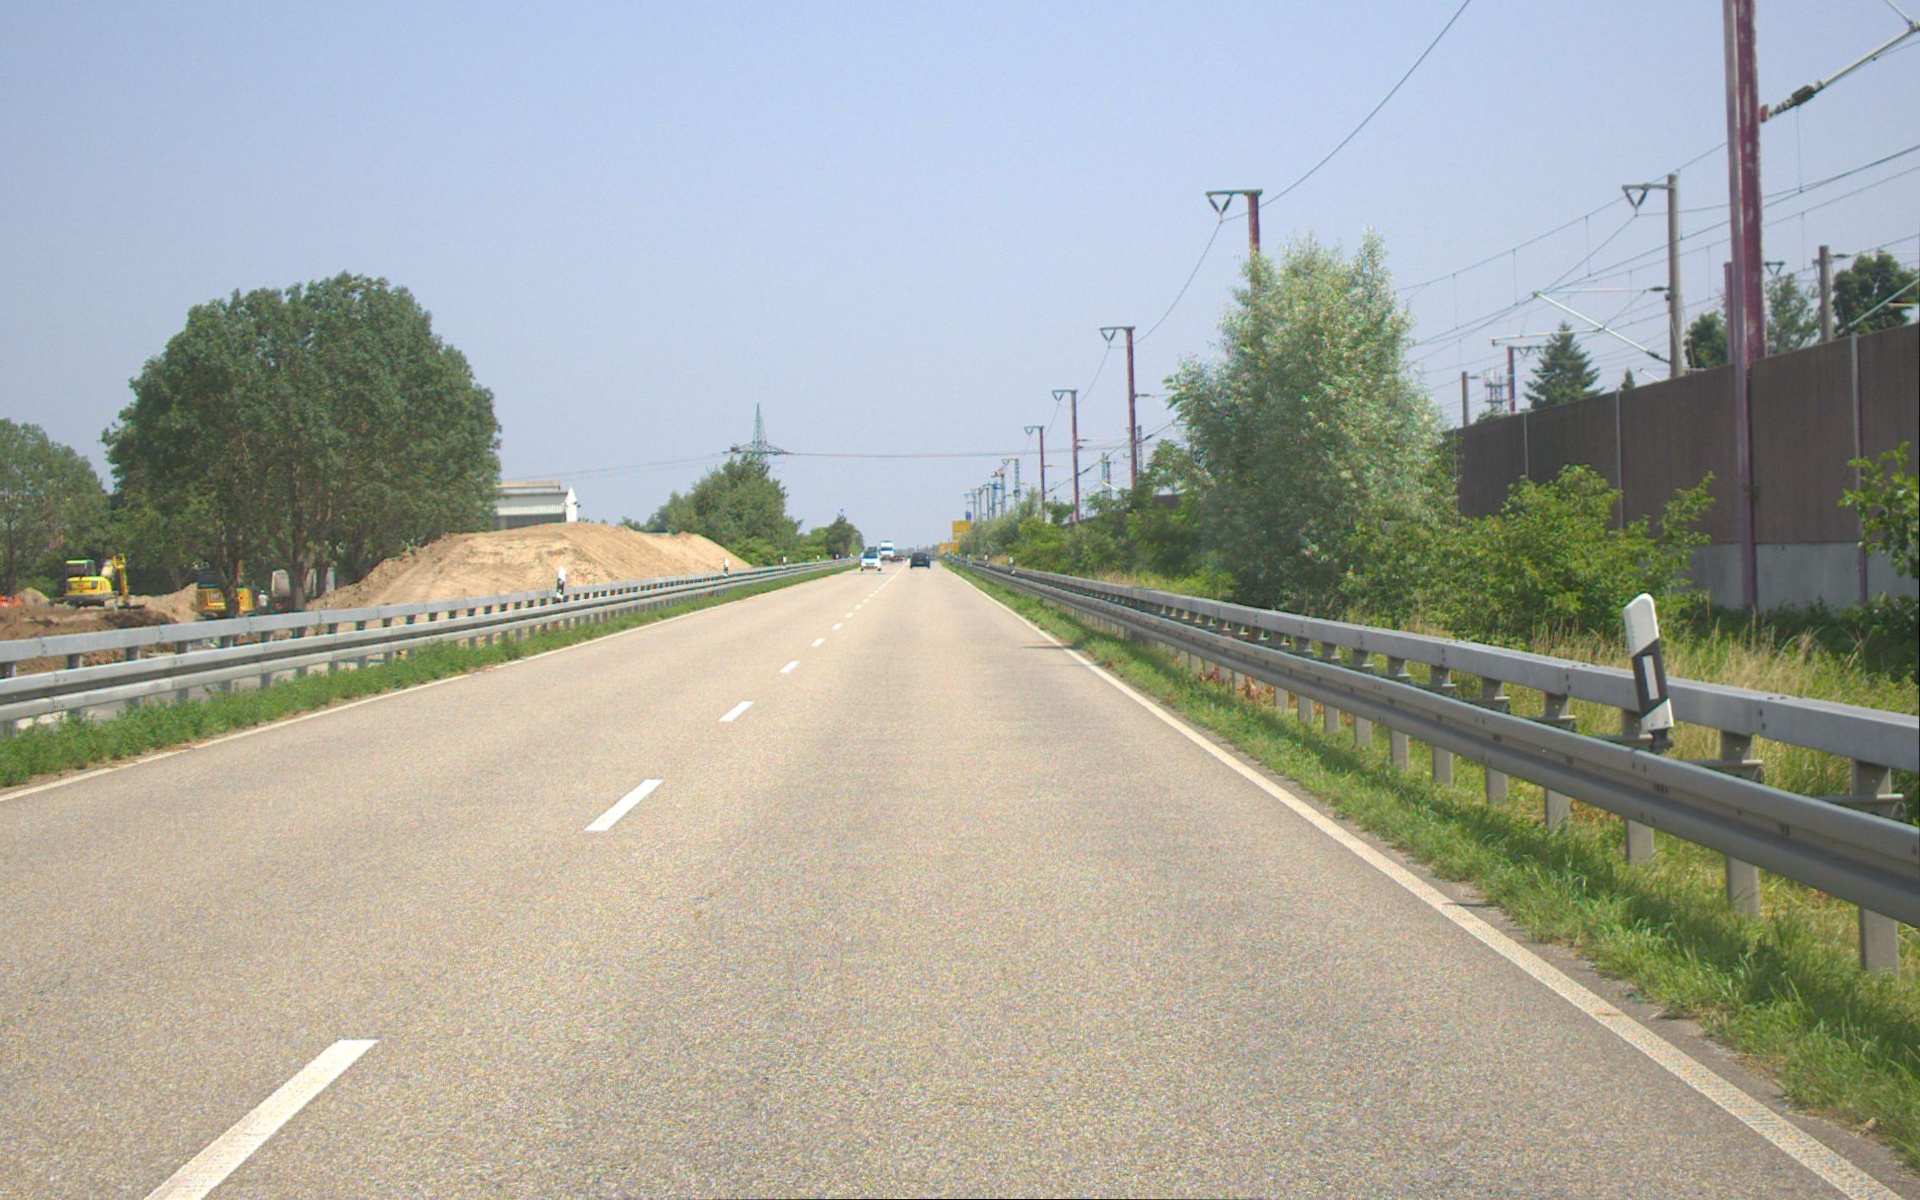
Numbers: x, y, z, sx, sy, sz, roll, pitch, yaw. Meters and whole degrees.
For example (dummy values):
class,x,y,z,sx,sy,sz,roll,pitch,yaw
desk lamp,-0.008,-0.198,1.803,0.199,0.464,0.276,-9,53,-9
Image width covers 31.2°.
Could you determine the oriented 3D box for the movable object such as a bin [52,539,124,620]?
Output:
class,x,y,z,sx,sy,sz,roll,pitch,yaw
movable object such as a bin,-41.253,-0.947,162.614,2.620,3.640,5.462,-4,1,-19
